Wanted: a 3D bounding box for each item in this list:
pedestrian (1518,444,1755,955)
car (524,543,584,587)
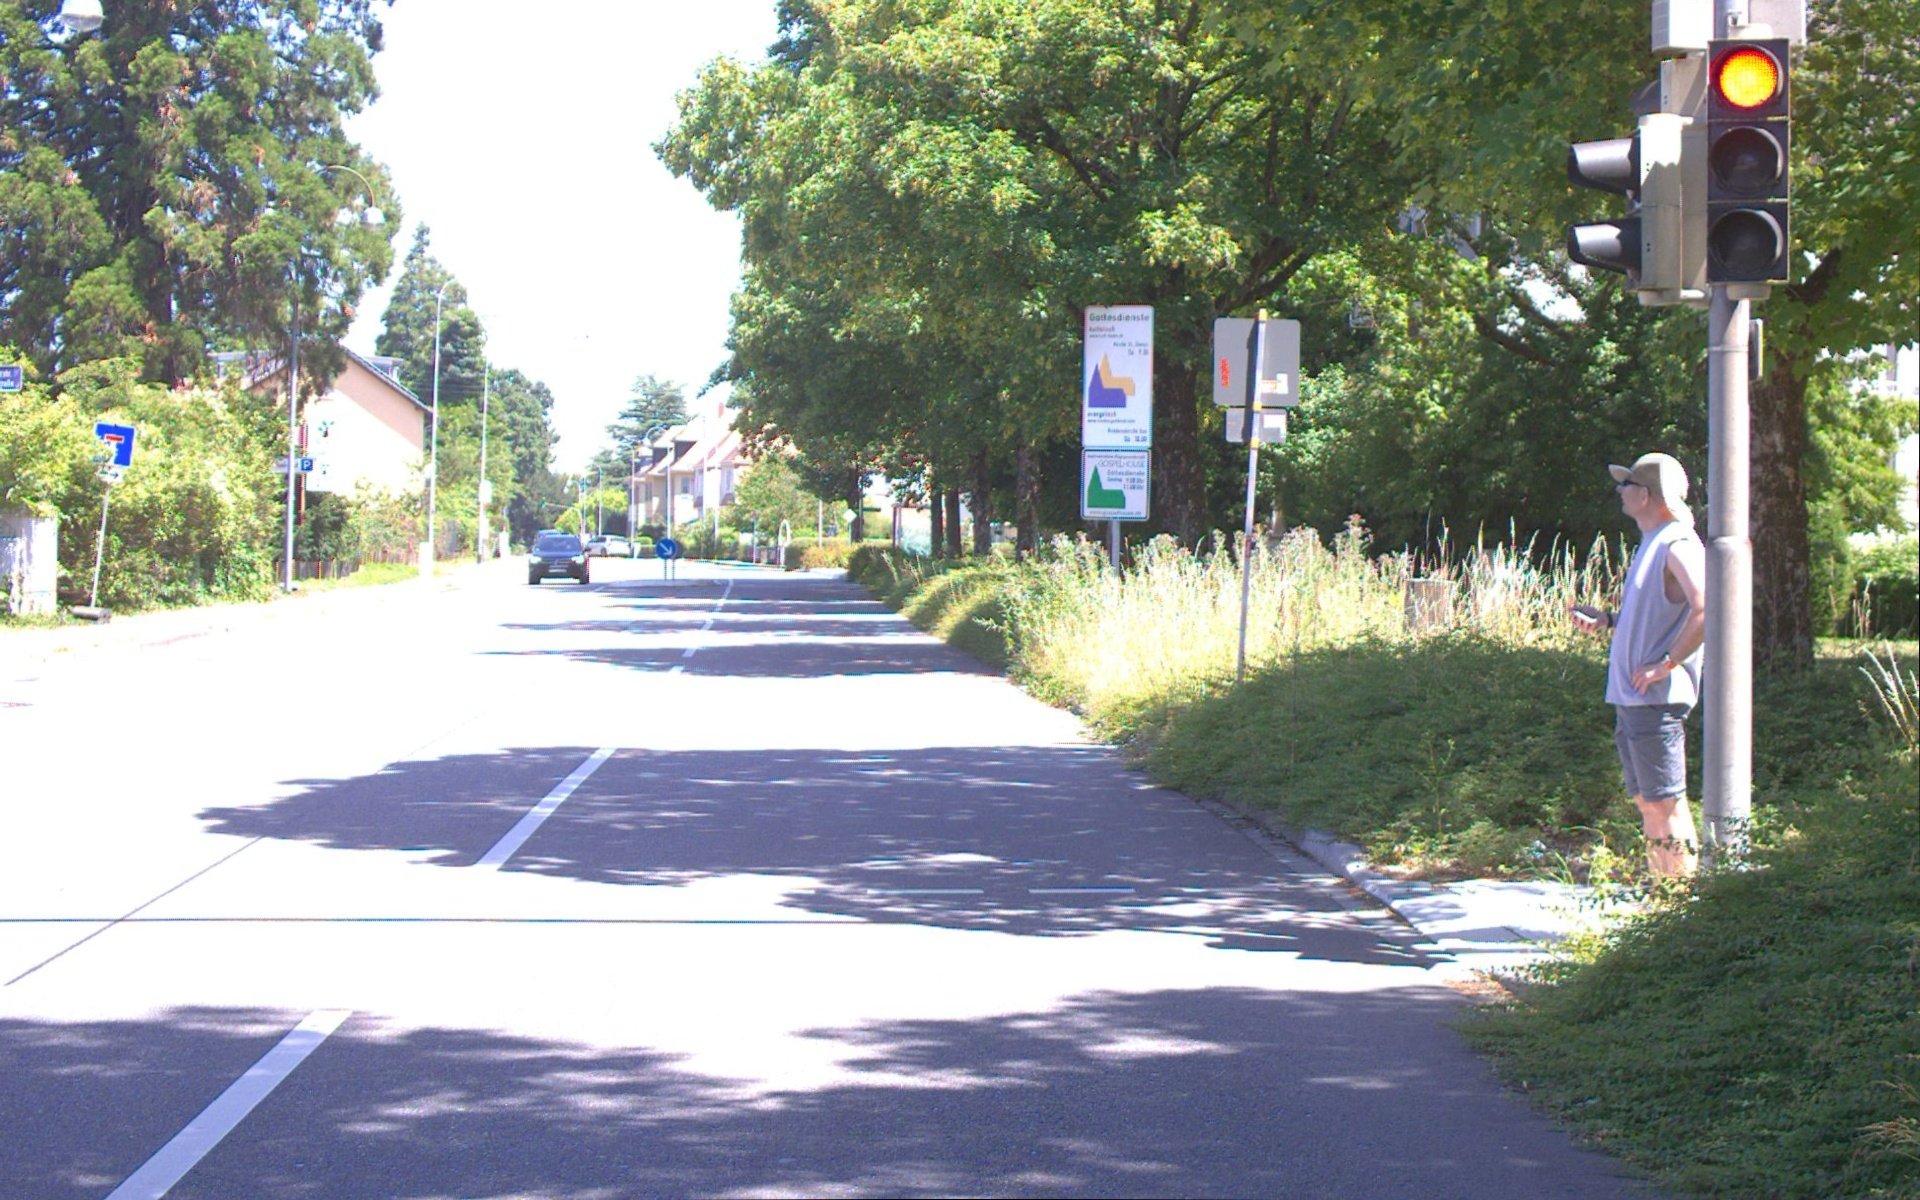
[{"bbox_3d":[2.376,0.337,12.115,0.560,1.745,0.615,1,1,-18],"label":"pedestrian"},{"bbox_3d":[-12.302,-1.066,104.371,1.431,1.318,3.355,1,1,0],"label":"car"}]
